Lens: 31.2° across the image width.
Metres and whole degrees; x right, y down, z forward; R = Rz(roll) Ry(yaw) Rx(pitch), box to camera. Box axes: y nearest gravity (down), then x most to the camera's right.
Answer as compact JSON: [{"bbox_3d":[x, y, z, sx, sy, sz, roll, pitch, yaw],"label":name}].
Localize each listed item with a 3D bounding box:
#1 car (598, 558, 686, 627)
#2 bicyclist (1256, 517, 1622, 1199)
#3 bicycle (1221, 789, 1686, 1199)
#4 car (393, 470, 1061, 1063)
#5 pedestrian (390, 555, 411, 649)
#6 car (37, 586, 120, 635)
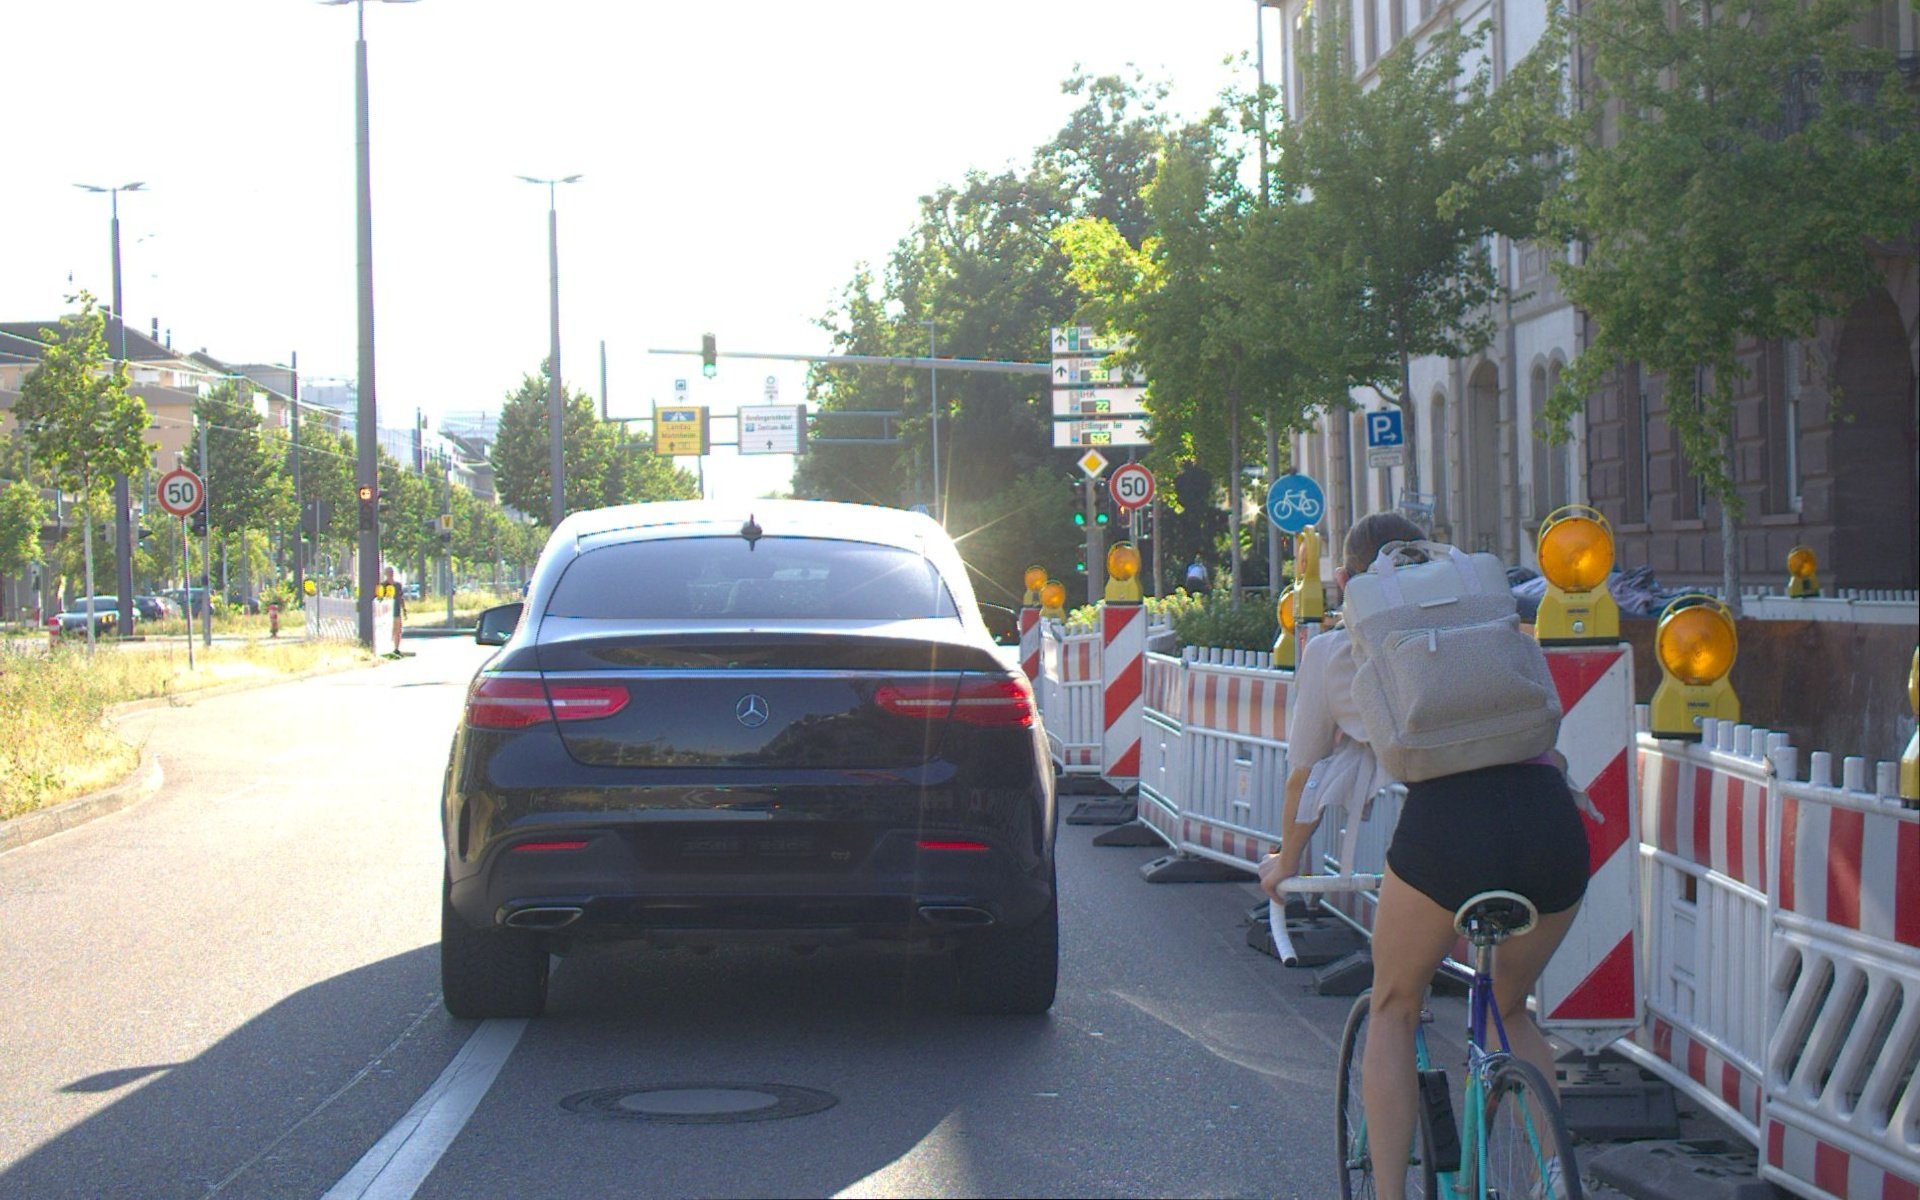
[{"bbox_3d":[-6.997,-0.183,75.821,1.708,1.437,3.583,0,1,-2],"label":"car"},{"bbox_3d":[0.826,0.555,6.041,0.523,1.391,0.615,0,0,-3],"label":"bicyclist"},{"bbox_3d":[0.834,0.920,6.214,0.512,1.048,1.725,0,0,-3],"label":"bicycle"},{"bbox_3d":[-0.699,0.483,12.316,1.993,1.766,4.000,0,0,0],"label":"car"},{"bbox_3d":[-10.547,0.038,64.838,0.334,1.757,0.418,0,0,-2],"label":"pedestrian"},{"bbox_3d":[-26.841,0.301,104.783,1.708,1.437,3.583,0,0,-2],"label":"car"}]
